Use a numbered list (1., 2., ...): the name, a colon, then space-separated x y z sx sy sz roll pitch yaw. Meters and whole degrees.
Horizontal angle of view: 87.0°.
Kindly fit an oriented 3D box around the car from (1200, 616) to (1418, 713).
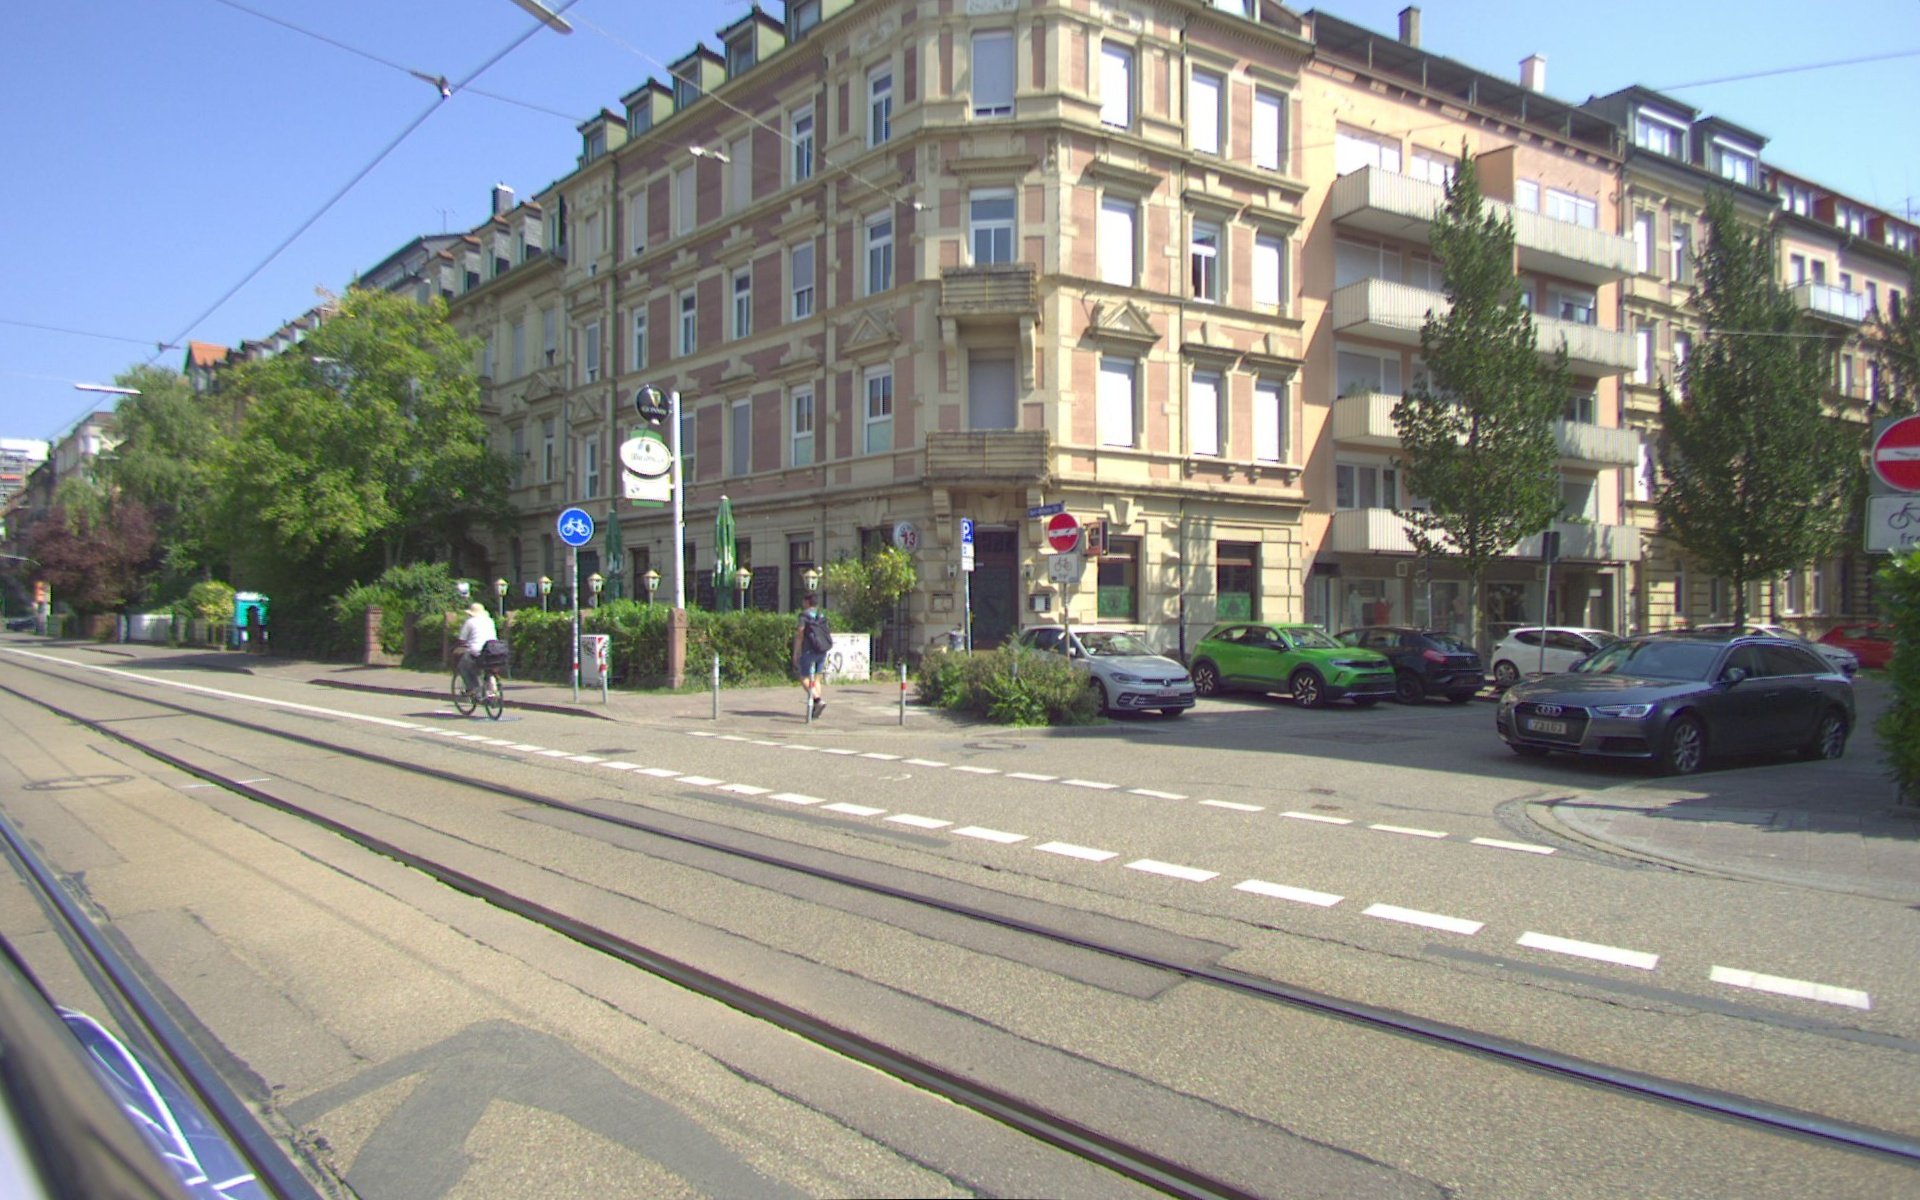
1. car: 6.446 1.122 19.096 1.709 1.586 3.752 0 0 -27

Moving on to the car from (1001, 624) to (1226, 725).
1. car: 2.454 1.163 17.350 1.965 1.500 4.158 1 -2 -22

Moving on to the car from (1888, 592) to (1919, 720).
1. car: 16.959 0.862 16.095 3.930 2.003 1.897 0 0 -25

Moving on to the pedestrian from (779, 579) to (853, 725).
1. pedestrian: -2.095 0.734 14.680 0.647 2.029 0.976 1 -2 -40

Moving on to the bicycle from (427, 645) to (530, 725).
1. bicycle: -7.162 1.230 15.008 1.914 1.085 0.634 -1 -2 40

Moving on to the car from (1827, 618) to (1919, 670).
1. car: 28.204 1.287 30.057 1.709 1.467 3.295 0 0 -27

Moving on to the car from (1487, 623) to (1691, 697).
1. car: 14.362 1.310 23.297 1.709 1.467 3.620 0 0 -27

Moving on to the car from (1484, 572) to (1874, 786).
1. car: 7.978 0.740 11.221 3.931 2.003 1.897 0 0 -27

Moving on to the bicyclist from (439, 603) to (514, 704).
1. bicyclist: -7.170 0.775 15.016 0.973 1.439 0.649 -1 -2 40

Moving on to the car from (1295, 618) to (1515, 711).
1. car: 8.675 1.180 20.056 1.709 1.586 3.752 0 0 -27
